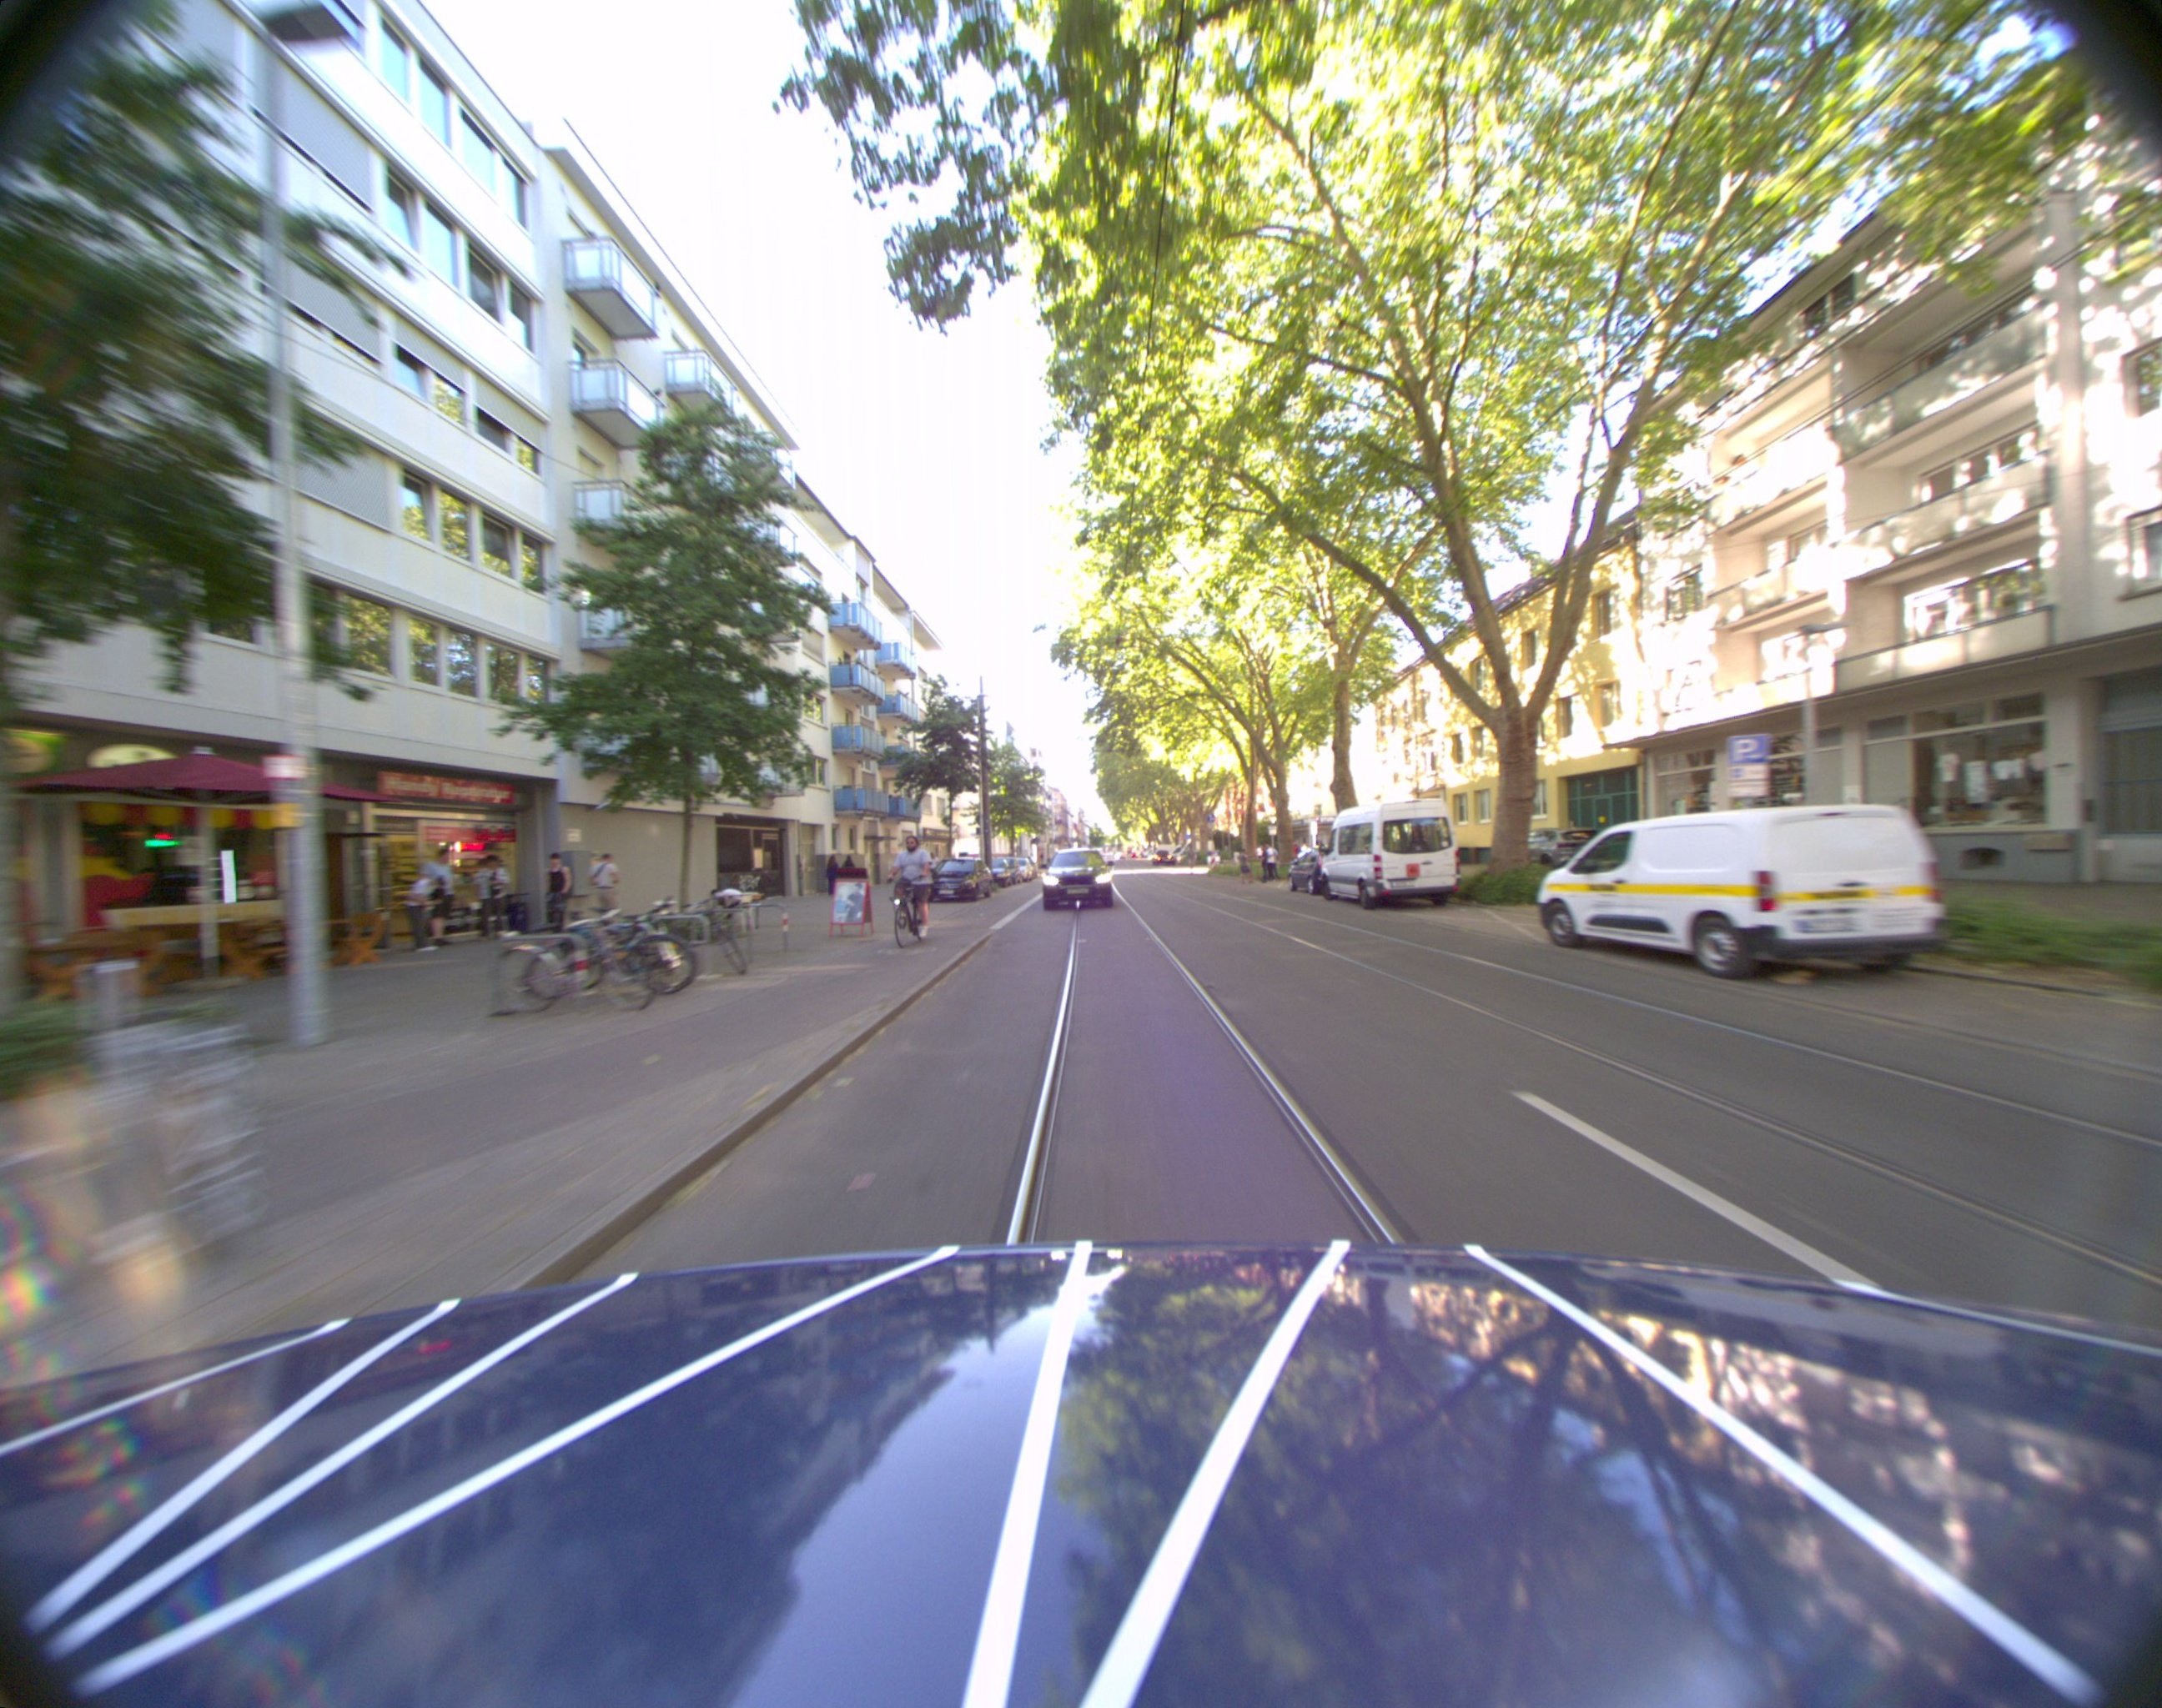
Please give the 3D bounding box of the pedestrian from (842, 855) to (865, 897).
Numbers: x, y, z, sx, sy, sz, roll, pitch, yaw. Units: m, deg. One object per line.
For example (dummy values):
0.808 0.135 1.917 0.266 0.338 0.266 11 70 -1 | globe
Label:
-8.941 0.852 29.864 0.643 1.628 0.870 0 1 1 | pedestrian

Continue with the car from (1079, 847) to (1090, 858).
0.735 -0.345 151.942 1.990 2.085 4.470 -3 1 3 | car

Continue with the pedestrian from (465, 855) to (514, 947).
-12.084 0.941 15.523 0.633 1.795 0.525 -4 2 -44 | pedestrian

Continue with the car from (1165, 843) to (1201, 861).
13.896 -0.257 103.896 4.660 2.293 2.000 -3 1 3 | car

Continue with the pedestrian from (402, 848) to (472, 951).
-12.562 0.869 14.837 0.507 1.943 0.793 -3 1 12 | pedestrian

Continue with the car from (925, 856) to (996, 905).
-4.347 0.913 28.073 1.763 1.578 4.329 1 1 2 | car

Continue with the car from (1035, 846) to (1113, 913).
-0.096 0.659 22.784 1.998 1.723 4.400 -2 1 3 | car

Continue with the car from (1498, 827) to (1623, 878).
18.737 -0.090 30.016 1.998 1.723 4.898 -3 1 3 | car

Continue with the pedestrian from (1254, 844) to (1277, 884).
8.493 0.446 34.888 0.769 1.767 0.715 -2 1 33 | pedestrian

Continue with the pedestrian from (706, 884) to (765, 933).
-7.999 1.245 17.589 0.659 1.021 1.003 -2 1 39 | pedestrian

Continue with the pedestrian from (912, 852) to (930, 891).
-7.750 0.842 36.713 0.663 1.841 0.539 -2 1 2 | pedestrian

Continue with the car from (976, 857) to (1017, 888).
-4.296 0.906 39.096 1.626 1.473 3.889 0 0 0 | car

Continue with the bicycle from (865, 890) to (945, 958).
-2.967 1.162 13.053 0.790 0.932 1.939 -3 1 3 | bicycle

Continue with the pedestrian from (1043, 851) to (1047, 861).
-5.547 0.303 116.844 0.590 1.493 0.600 -3 1 3 | pedestrian

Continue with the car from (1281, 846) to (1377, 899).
8.377 0.560 26.074 1.921 1.553 4.284 -3 1 2 | car

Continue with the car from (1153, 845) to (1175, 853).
16.308 -1.031 149.302 3.997 1.458 2.000 -3 1 1 | car

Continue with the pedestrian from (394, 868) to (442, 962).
-11.865 1.076 13.617 0.508 1.619 0.517 -4 2 -35 | pedestrian

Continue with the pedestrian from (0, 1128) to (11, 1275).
-4.528 0.829 2.402 0.879 1.748 1.045 -3 1 -29 | pedestrian

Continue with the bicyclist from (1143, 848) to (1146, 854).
13.650 -0.622 164.263 0.533 1.206 0.666 -3 1 3 | bicyclist

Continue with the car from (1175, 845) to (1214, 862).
12.628 -0.053 84.471 3.997 1.600 1.909 -3 -1 1 | car

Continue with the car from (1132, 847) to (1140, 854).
13.742 -0.897 189.983 1.998 1.723 4.400 -3 1 3 | car

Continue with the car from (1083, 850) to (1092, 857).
1.508 -0.176 171.796 1.867 1.499 4.000 -3 1 3 | car

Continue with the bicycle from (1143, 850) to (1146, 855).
13.646 -0.290 164.252 0.533 0.901 1.557 -3 1 3 | bicycle

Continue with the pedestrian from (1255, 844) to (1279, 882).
8.758 0.429 35.815 0.768 1.725 0.715 -2 2 44 | pedestrian

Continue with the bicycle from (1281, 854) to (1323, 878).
10.648 0.561 36.598 1.847 1.073 0.570 -2 1 30 | bicycle

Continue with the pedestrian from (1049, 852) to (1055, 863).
-4.517 0.579 118.146 0.697 1.685 0.678 -3 1 2 | pedestrian

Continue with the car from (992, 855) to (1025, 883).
-4.083 0.835 43.023 1.447 1.528 2.881 0 0 2 | car

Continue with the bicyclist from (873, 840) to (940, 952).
-2.983 0.696 13.100 0.769 1.821 1.099 -3 1 3 | bicyclist

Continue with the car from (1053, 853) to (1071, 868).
-2.511 0.863 101.871 1.957 1.914 4.000 -3 1 3 | car

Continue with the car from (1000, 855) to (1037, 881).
-3.830 0.841 47.010 1.790 1.528 4.128 0 0 2 | car

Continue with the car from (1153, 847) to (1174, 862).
9.332 0.025 86.233 1.928 1.674 4.182 0 1 1 | car

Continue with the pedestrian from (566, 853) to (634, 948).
-9.506 0.894 15.053 0.592 1.774 0.995 -3 1 1 | pedestrian

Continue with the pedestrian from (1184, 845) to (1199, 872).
7.230 0.289 49.705 0.700 1.781 0.801 -3 1 -10 | pedestrian

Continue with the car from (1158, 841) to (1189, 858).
14.406 -0.691 118.631 4.660 2.518 2.000 -3 1 3 | car

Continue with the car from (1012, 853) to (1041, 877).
-3.766 0.735 52.949 1.724 1.562 4.259 0 1 -1 | car

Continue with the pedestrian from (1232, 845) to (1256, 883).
7.735 0.474 36.148 0.772 1.725 0.712 -4 2 -37 | pedestrian

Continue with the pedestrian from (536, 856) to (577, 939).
-11.472 0.940 16.628 0.432 1.786 0.489 -3 1 2 | pedestrian

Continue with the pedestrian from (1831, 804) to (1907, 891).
17.524 -0.140 16.913 0.746 1.859 0.864 -3 1 1 | pedestrian

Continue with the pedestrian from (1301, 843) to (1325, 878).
10.912 0.326 35.681 0.768 1.600 0.715 -2 2 44 | pedestrian

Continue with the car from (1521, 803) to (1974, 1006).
7.545 0.455 9.328 1.767 1.840 4.318 -3 1 1 | car

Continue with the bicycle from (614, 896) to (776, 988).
-5.007 1.134 9.908 1.819 1.094 0.525 -2 1 2 | bicycle

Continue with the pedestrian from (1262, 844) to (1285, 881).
9.189 0.402 36.279 0.768 1.725 0.718 -2 2 44 | pedestrian

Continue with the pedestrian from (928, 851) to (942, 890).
-7.051 0.784 36.638 0.477 1.841 0.664 -2 1 0 | pedestrian

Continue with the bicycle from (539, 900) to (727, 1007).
-5.259 1.153 8.985 1.821 1.094 0.481 -3 1 -5 | bicycle

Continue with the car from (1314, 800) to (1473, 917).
8.001 0.056 20.238 2.112 2.562 6.025 -3 1 5 | car

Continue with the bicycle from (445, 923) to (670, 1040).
-5.109 1.237 7.472 1.820 0.988 0.481 -3 1 0 | bicycle

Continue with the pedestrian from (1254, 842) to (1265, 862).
16.058 -0.181 68.322 0.724 1.770 0.669 -3 2 -7 | pedestrian

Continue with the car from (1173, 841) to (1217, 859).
14.227 -0.513 95.315 5.134 1.984 1.999 -3 1 -2 | car

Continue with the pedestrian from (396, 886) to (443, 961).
-11.934 1.235 13.725 0.510 1.269 0.625 -4 1 -34 | pedestrian

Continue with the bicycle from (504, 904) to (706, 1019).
-5.255 1.177 8.461 1.820 1.094 0.497 -3 1 -5 | bicycle

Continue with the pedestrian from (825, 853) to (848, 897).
-9.611 0.812 29.862 0.597 1.668 0.934 0 1 0 | pedestrian

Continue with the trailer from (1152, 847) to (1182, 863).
9.081 0.104 80.600 2.452 1.622 6.583 0 1 1 | trailer
